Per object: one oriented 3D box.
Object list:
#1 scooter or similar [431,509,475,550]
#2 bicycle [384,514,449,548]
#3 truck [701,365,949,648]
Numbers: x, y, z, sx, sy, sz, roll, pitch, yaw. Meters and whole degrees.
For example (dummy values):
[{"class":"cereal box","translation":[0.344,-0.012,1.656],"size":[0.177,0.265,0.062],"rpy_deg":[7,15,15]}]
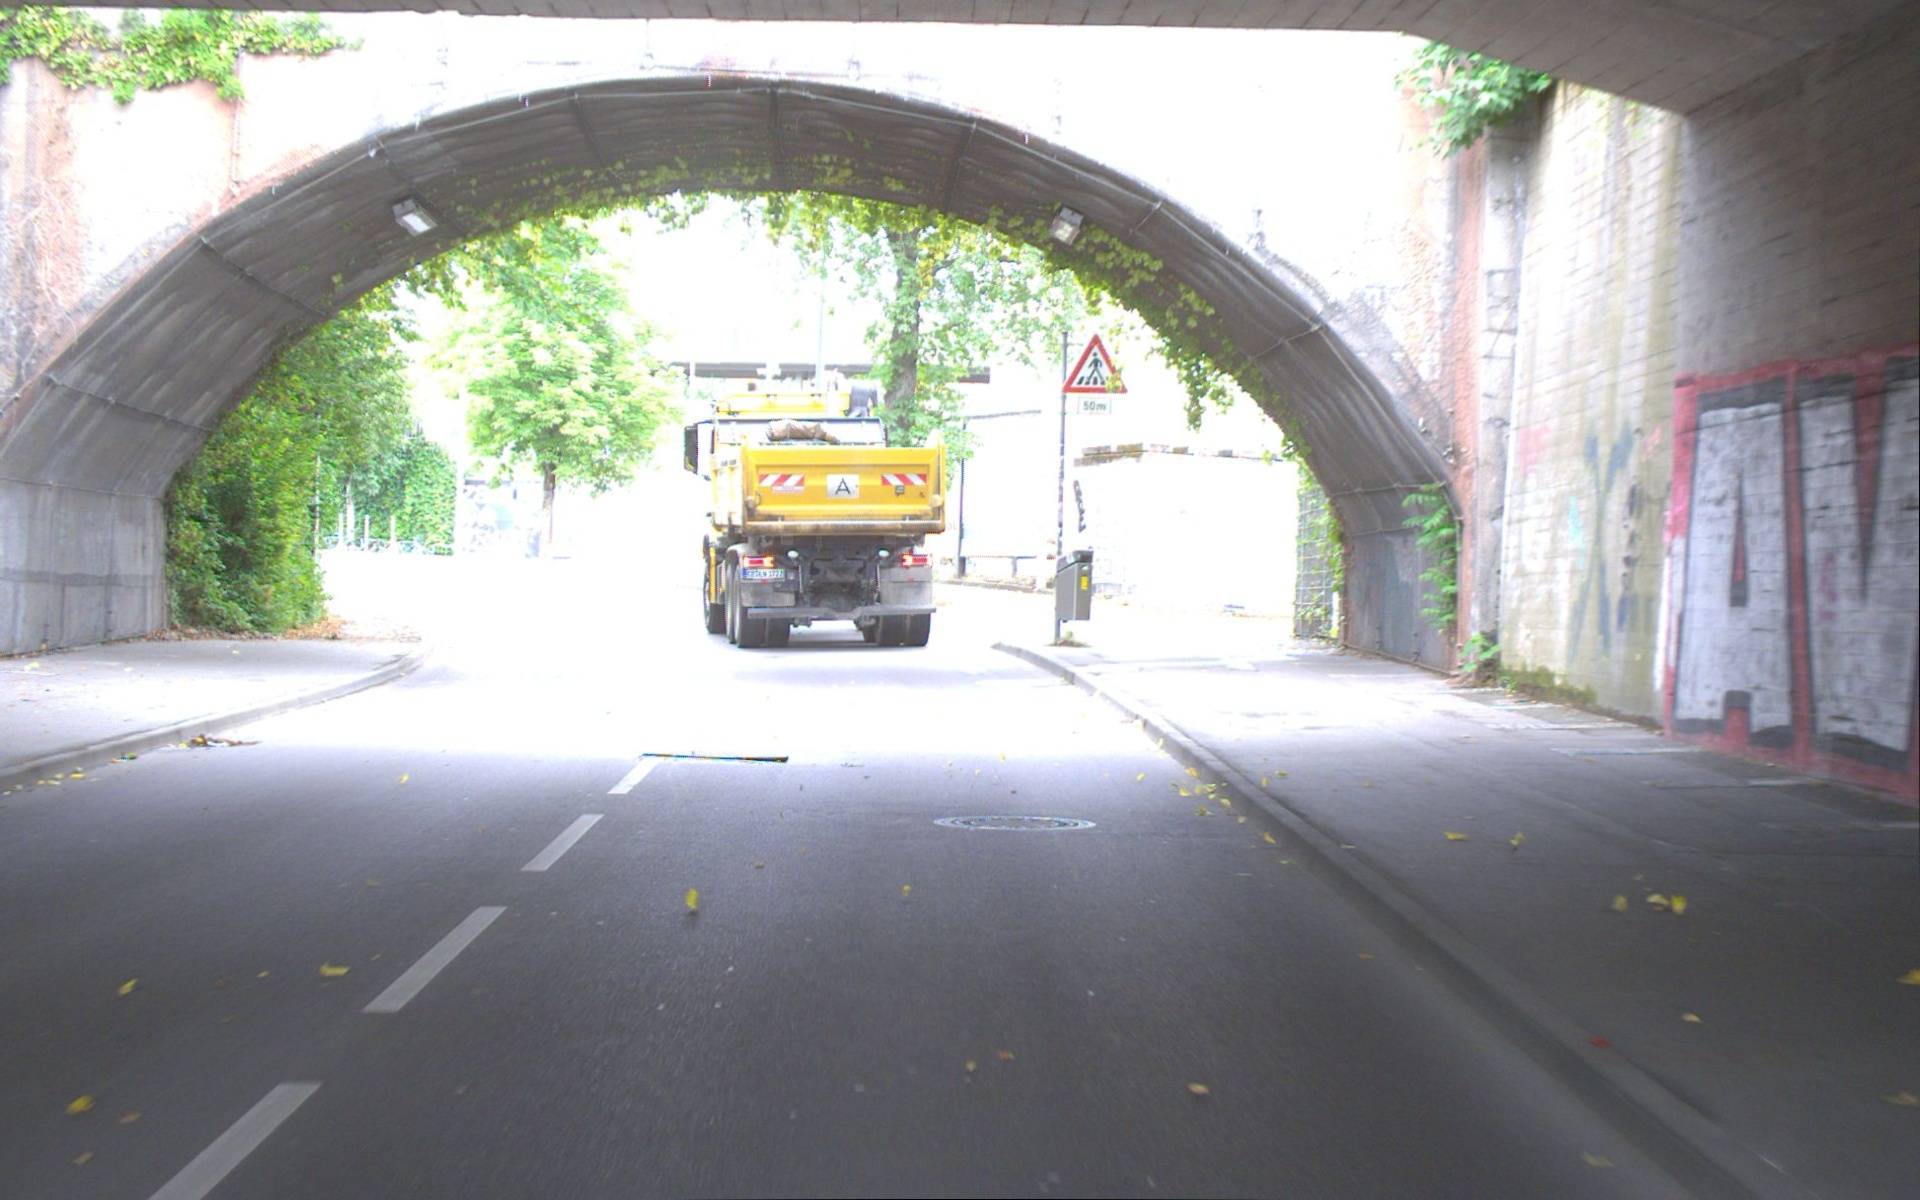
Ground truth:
[{"class":"scooter or similar","translation":[-15.769,-2.189,106.873],"size":[1.187,1.202,0.468],"rpy_deg":[5,-1,-37]},{"class":"bicycle","translation":[-17.024,-2.156,107.754],"size":[1.966,0.862,0.511],"rpy_deg":[6,-1,-40]},{"class":"truck","translation":[-1.974,-1.326,46.512],"size":[2.764,3.471,8.131],"rpy_deg":[0,3,-6]}]
